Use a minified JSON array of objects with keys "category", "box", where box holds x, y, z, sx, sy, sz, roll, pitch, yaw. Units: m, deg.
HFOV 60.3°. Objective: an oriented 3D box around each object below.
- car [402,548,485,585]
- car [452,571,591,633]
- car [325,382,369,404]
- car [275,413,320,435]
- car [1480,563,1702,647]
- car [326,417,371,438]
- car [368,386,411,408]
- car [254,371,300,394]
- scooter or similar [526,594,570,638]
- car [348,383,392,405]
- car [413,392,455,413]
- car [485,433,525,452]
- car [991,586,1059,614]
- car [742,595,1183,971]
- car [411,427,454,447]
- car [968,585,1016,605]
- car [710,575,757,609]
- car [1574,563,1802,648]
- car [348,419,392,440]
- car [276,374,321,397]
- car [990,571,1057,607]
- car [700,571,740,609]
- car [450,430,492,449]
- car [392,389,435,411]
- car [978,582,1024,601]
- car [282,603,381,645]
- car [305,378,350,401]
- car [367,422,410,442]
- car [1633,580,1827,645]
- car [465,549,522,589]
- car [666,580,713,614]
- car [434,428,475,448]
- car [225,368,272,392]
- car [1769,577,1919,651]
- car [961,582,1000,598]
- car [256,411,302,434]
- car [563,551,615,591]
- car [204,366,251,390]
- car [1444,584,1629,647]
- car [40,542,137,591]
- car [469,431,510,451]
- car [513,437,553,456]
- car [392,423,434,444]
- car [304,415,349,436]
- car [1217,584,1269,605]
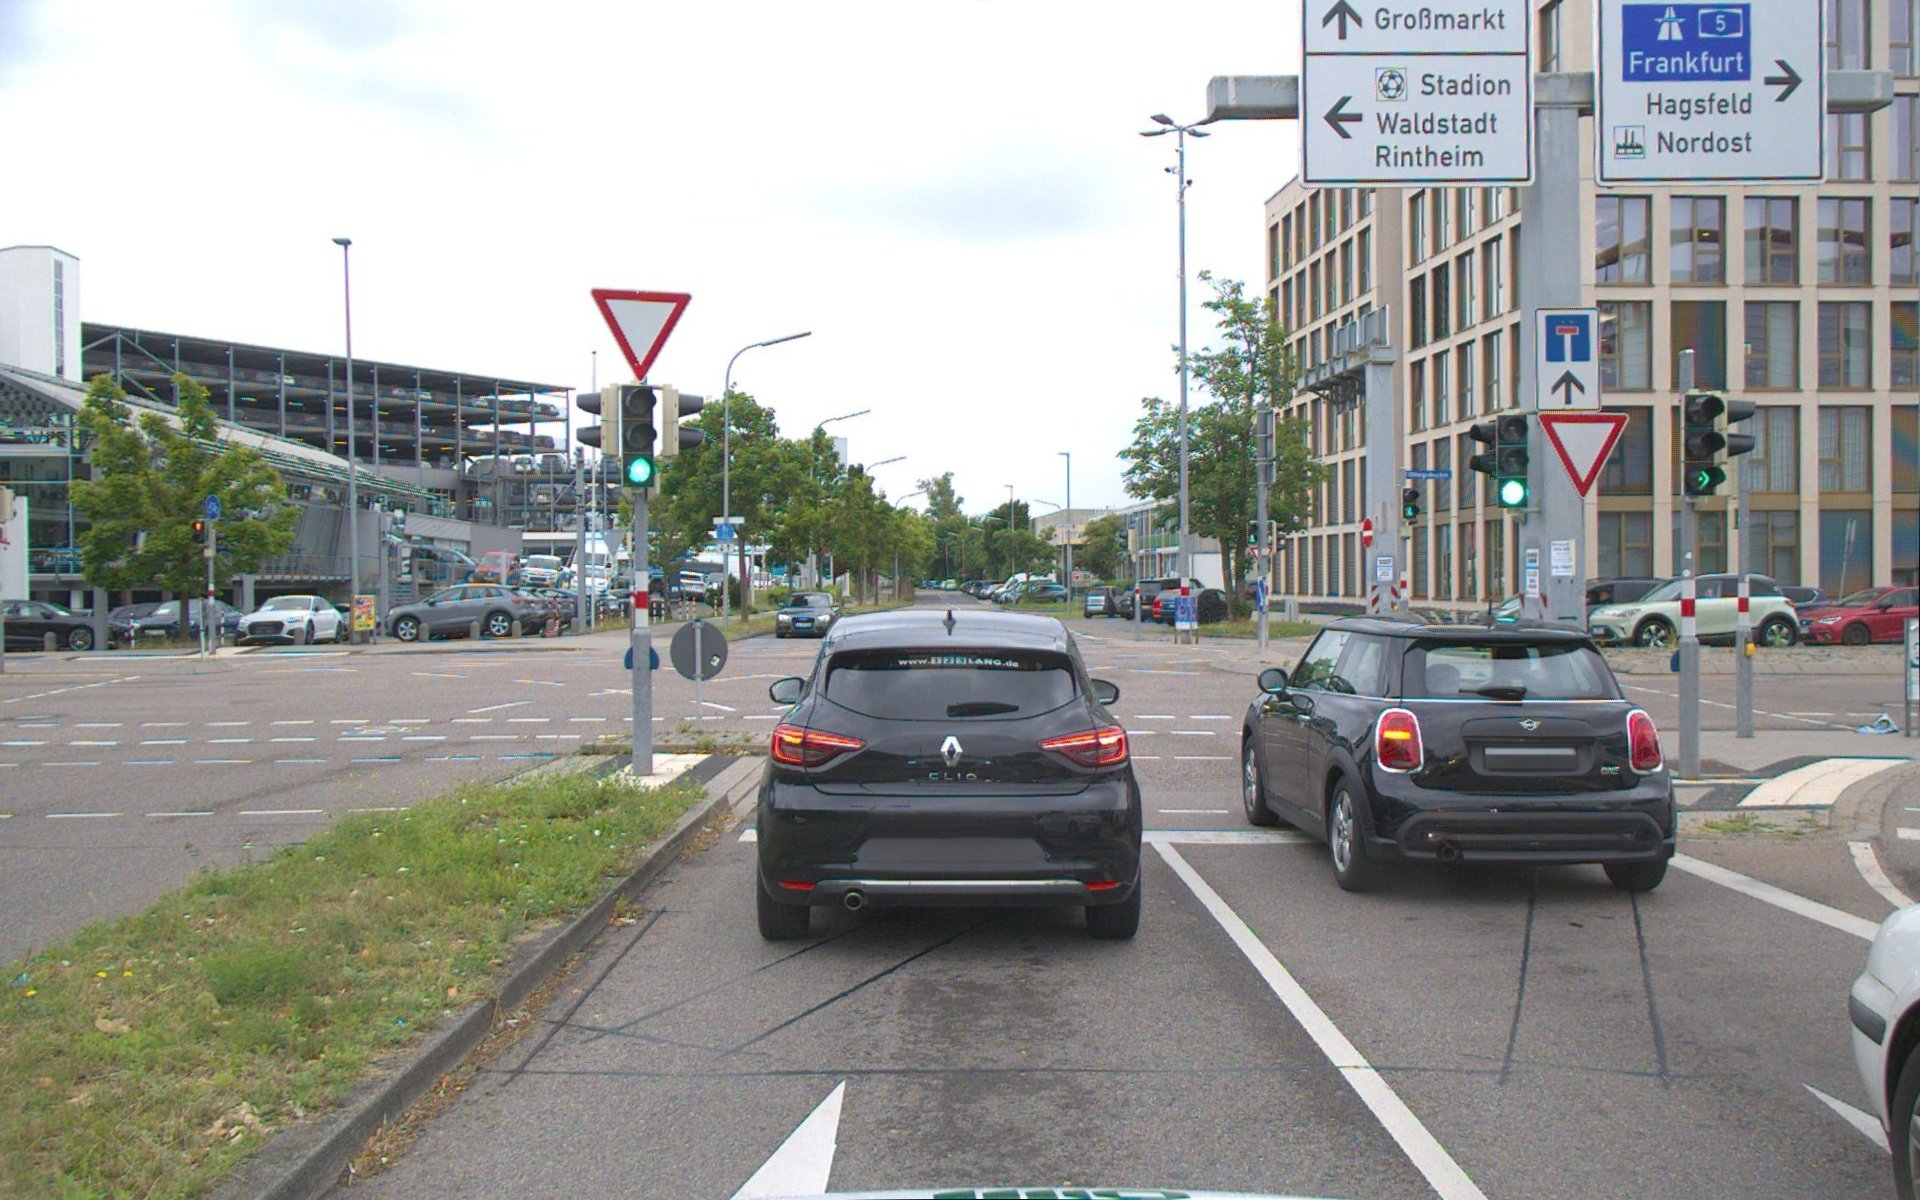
[{"category":"car","box":[-27.946,-1.807,89.523,3.908,1.870,1.759,1,-1,-4]},{"category":"car","box":[-16.188,0.074,61.248,4.682,2.049,1.997,-2,0,-7]},{"category":"car","box":[-58.415,-19.736,157.597,3.914,1.696,1.995,1,0,31]},{"category":"car","box":[-61.364,-16.312,153.194,3.914,1.696,1.995,1,0,31]},{"category":"car","box":[14.443,0.119,38.007,4.321,1.800,1.998,1,-1,-5]},{"category":"car","box":[-58.287,-16.409,157.595,3.914,1.696,1.995,1,0,31]},{"category":"car","box":[-55.826,-19.838,161.761,3.914,1.696,1.995,1,0,31]},{"category":"car","box":[-62.397,-19.835,151.017,3.914,1.696,1.995,1,0,31]},{"category":"scooter or similar","box":[-11.891,0.451,47.714,0.545,1.240,1.561,2,1,13]},{"category":"car","box":[-57.070,-19.882,159.919,3.914,1.696,1.995,1,0,31]},{"category":"car","box":[-53.002,-19.926,166.766,3.914,1.696,1.995,1,0,31]},{"category":"car","box":[-48.292,-16.729,175.561,3.914,1.696,1.995,1,0,31]},{"category":"car","box":[5.058,-0.009,128.869,5.070,2.049,2.142,1,-1,-3]},{"category":"car","box":[-0.014,0.743,8.541,1.721,1.460,3.999,1,-1,-1]},{"category":"car","box":[-53.156,-16.414,166.638,3.914,1.696,1.995,1,0,31]},{"category":"car","box":[3.517,-0.519,182.042,5.069,2.049,2.143,1,-1,-2]},{"category":"car","box":[-11.481,-0.403,84.077,1.953,1.646,3.998,1,-1,-3]},{"category":"car","box":[15.235,0.125,34.724,3.977,1.672,1.903,1,-1,-6]},{"category":"car","box":[-57.025,-16.426,159.809,3.914,1.696,1.995,1,0,31]},{"category":"car","box":[-61.159,-19.799,152.903,3.914,1.696,1.995,1,0,31]},{"category":"car","box":[5.799,-1.011,151.496,5.993,3.171,2.133,1,-1,-2]},{"category":"car","box":[-13.691,-0.546,94.692,1.954,2.049,3.996,1,-1,-4]},{"category":"car","box":[-50.584,-16.582,171.046,3.914,1.696,1.995,1,0,31]},{"category":"car","box":[-54.319,-19.884,164.445,3.914,1.696,1.995,1,0,31]},{"category":"car","box":[4.372,-0.862,175.461,4.690,1.924,2.142,1,-1,-3]},{"category":"car","box":[-29.091,1.104,76.616,3.910,1.870,1.757,1,-1,-7]},{"category":"car","box":[-59.531,-19.772,155.569,3.914,1.696,1.995,1,0,31]},{"category":"car","box":[-55.889,-16.418,161.678,3.914,1.696,1.995,1,0,31]},{"category":"car","box":[19.315,0.317,41.587,4.055,1.517,1.870,1,-1,-5]},{"category":"car","box":[-23.398,-1.516,83.047,1.954,1.881,3.996,1,-1,-4]},{"category":"car","box":[-13.620,-0.150,83.478,1.954,1.646,3.996,1,-1,-4]},{"category":"car","box":[-51.682,-16.533,169.068,3.914,1.696,1.995,1,0,31]},{"category":"car","box":[-63.951,-19.777,148.599,3.914,1.696,1.995,1,0,31]},{"category":"car","box":[21.277,0.346,38.510,3.908,1.629,1.998,1,-1,-4]},{"category":"car","box":[2.680,-1.313,218.738,5.069,2.049,2.143,1,-1,-2]},{"category":"car","box":[-62.224,-16.206,151.099,3.914,1.696,1.995,1,0,31]},{"category":"car","box":[-18.576,-1.439,83.006,1.954,1.855,3.996,1,-1,-4]},{"category":"car","box":[-64.887,-19.657,146.536,3.914,1.696,1.995,1,0,31]},{"category":"car","box":[14.349,0.390,41.288,4.005,1.457,1.749,1,-1,-5]},{"category":"car","box":[-32.808,-1.238,62.384,1.784,1.691,3.995,1,-1,-5]},{"category":"car","box":[-49.358,-16.681,173.588,3.914,1.696,1.995,1,0,31]},{"category":"car","box":[-46.212,-16.620,178.942,3.914,1.696,1.995,1,0,31]},{"category":"car","box":[-54.326,-16.505,164.270,3.914,1.696,1.995,1,0,31]},{"category":"car","box":[-59.583,-16.382,155.450,3.914,1.696,1.995,1,0,31]},{"category":"car","box":[18.988,-0.378,110.965,3.182,1.356,1.477,1,-1,-20]}]
